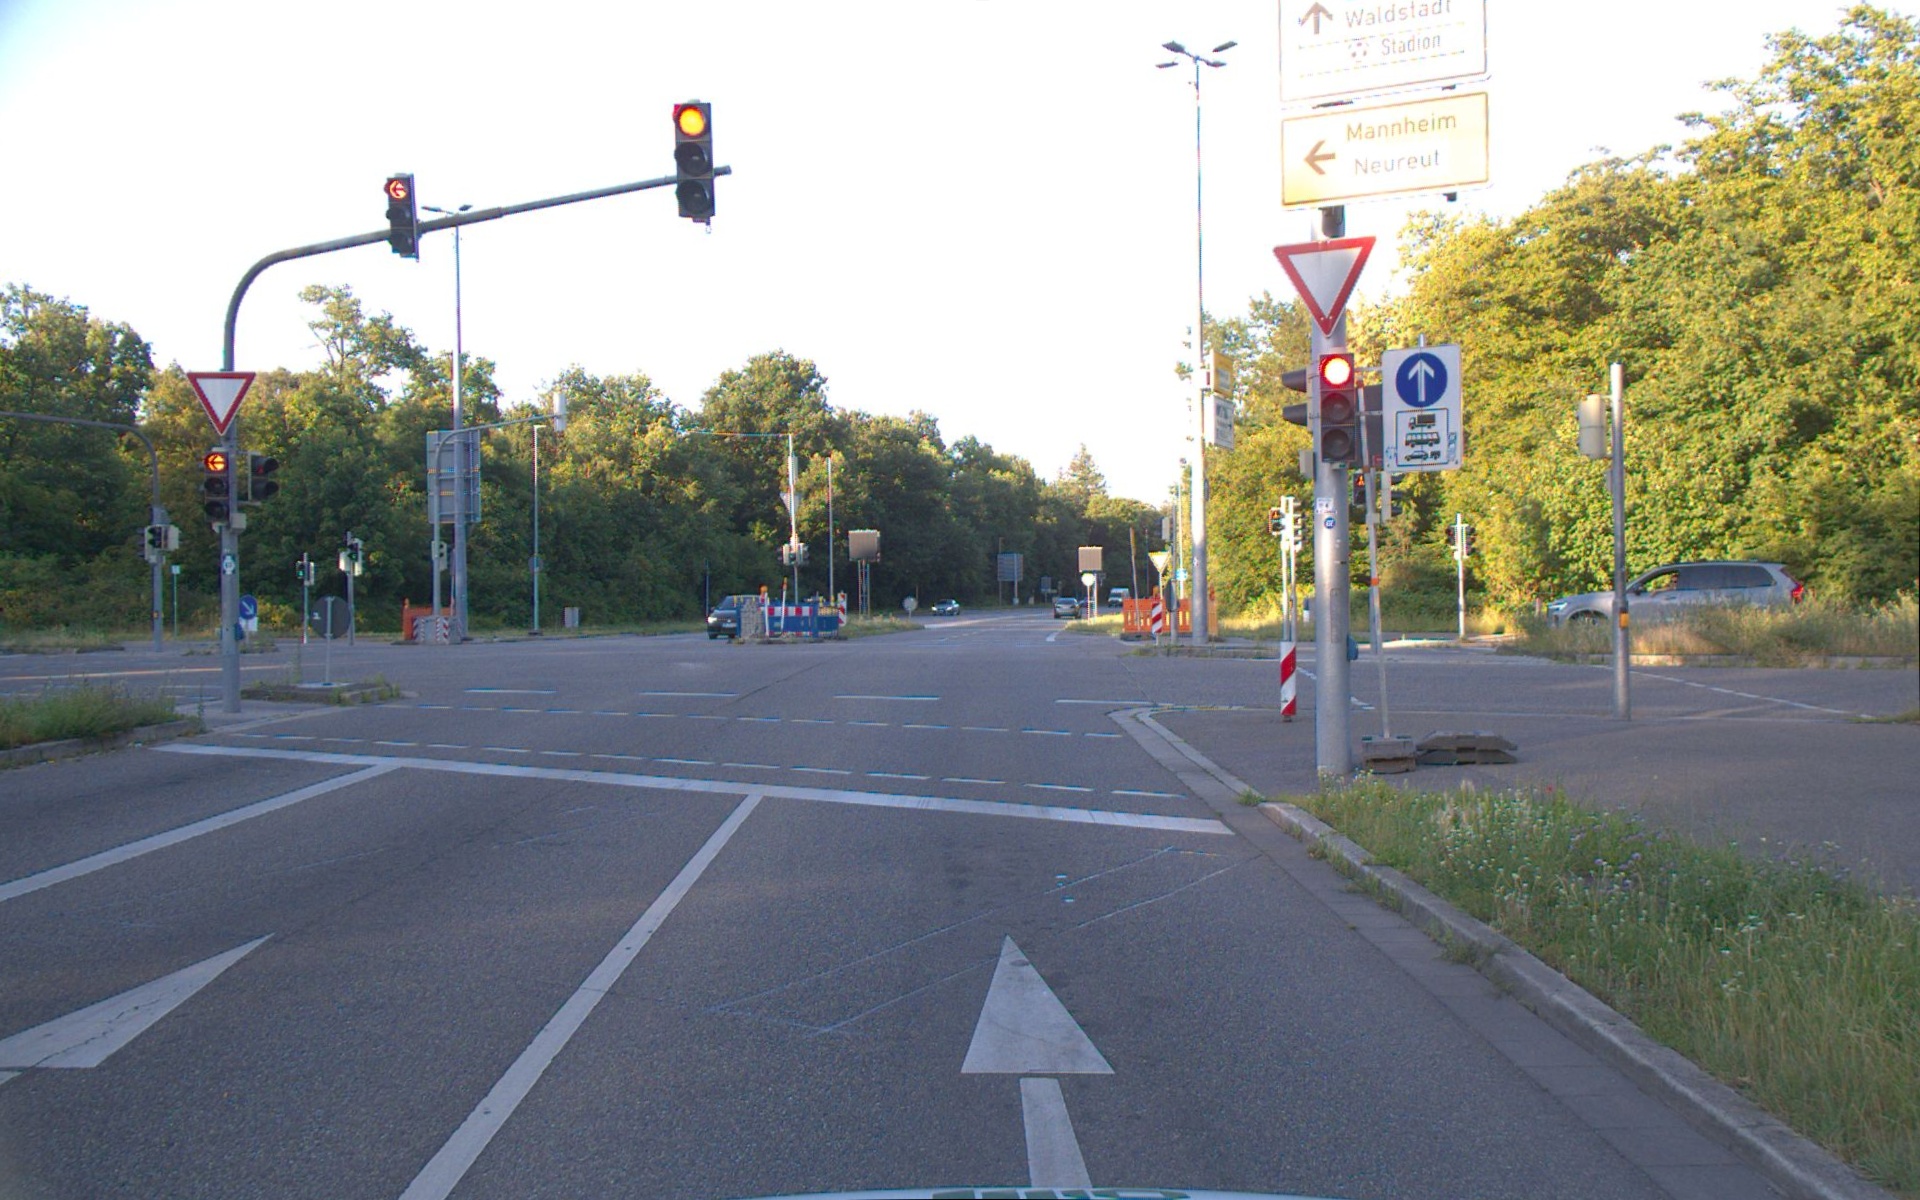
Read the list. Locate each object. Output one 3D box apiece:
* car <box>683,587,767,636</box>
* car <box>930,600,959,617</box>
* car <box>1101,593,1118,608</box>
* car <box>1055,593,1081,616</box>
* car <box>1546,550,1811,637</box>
[{"bbox_3d":[-7.928,0.369,56.251,1.952,1.556,4.680,-1,0,3],"label":"car"},{"bbox_3d":[-1.342,0.715,147.888,1.951,1.445,4.004,-1,0,9],"label":"car"},{"bbox_3d":[21.230,0.057,234.437,1.953,2.049,3.999,1,0,-1],"label":"car"},{"bbox_3d":[8.041,0.304,123.249,1.952,1.646,4.002,-1,0,3],"label":"car"},{"bbox_3d":[14.311,-0.115,33.190,4.717,1.626,2.000,-1,0,22],"label":"car"}]
